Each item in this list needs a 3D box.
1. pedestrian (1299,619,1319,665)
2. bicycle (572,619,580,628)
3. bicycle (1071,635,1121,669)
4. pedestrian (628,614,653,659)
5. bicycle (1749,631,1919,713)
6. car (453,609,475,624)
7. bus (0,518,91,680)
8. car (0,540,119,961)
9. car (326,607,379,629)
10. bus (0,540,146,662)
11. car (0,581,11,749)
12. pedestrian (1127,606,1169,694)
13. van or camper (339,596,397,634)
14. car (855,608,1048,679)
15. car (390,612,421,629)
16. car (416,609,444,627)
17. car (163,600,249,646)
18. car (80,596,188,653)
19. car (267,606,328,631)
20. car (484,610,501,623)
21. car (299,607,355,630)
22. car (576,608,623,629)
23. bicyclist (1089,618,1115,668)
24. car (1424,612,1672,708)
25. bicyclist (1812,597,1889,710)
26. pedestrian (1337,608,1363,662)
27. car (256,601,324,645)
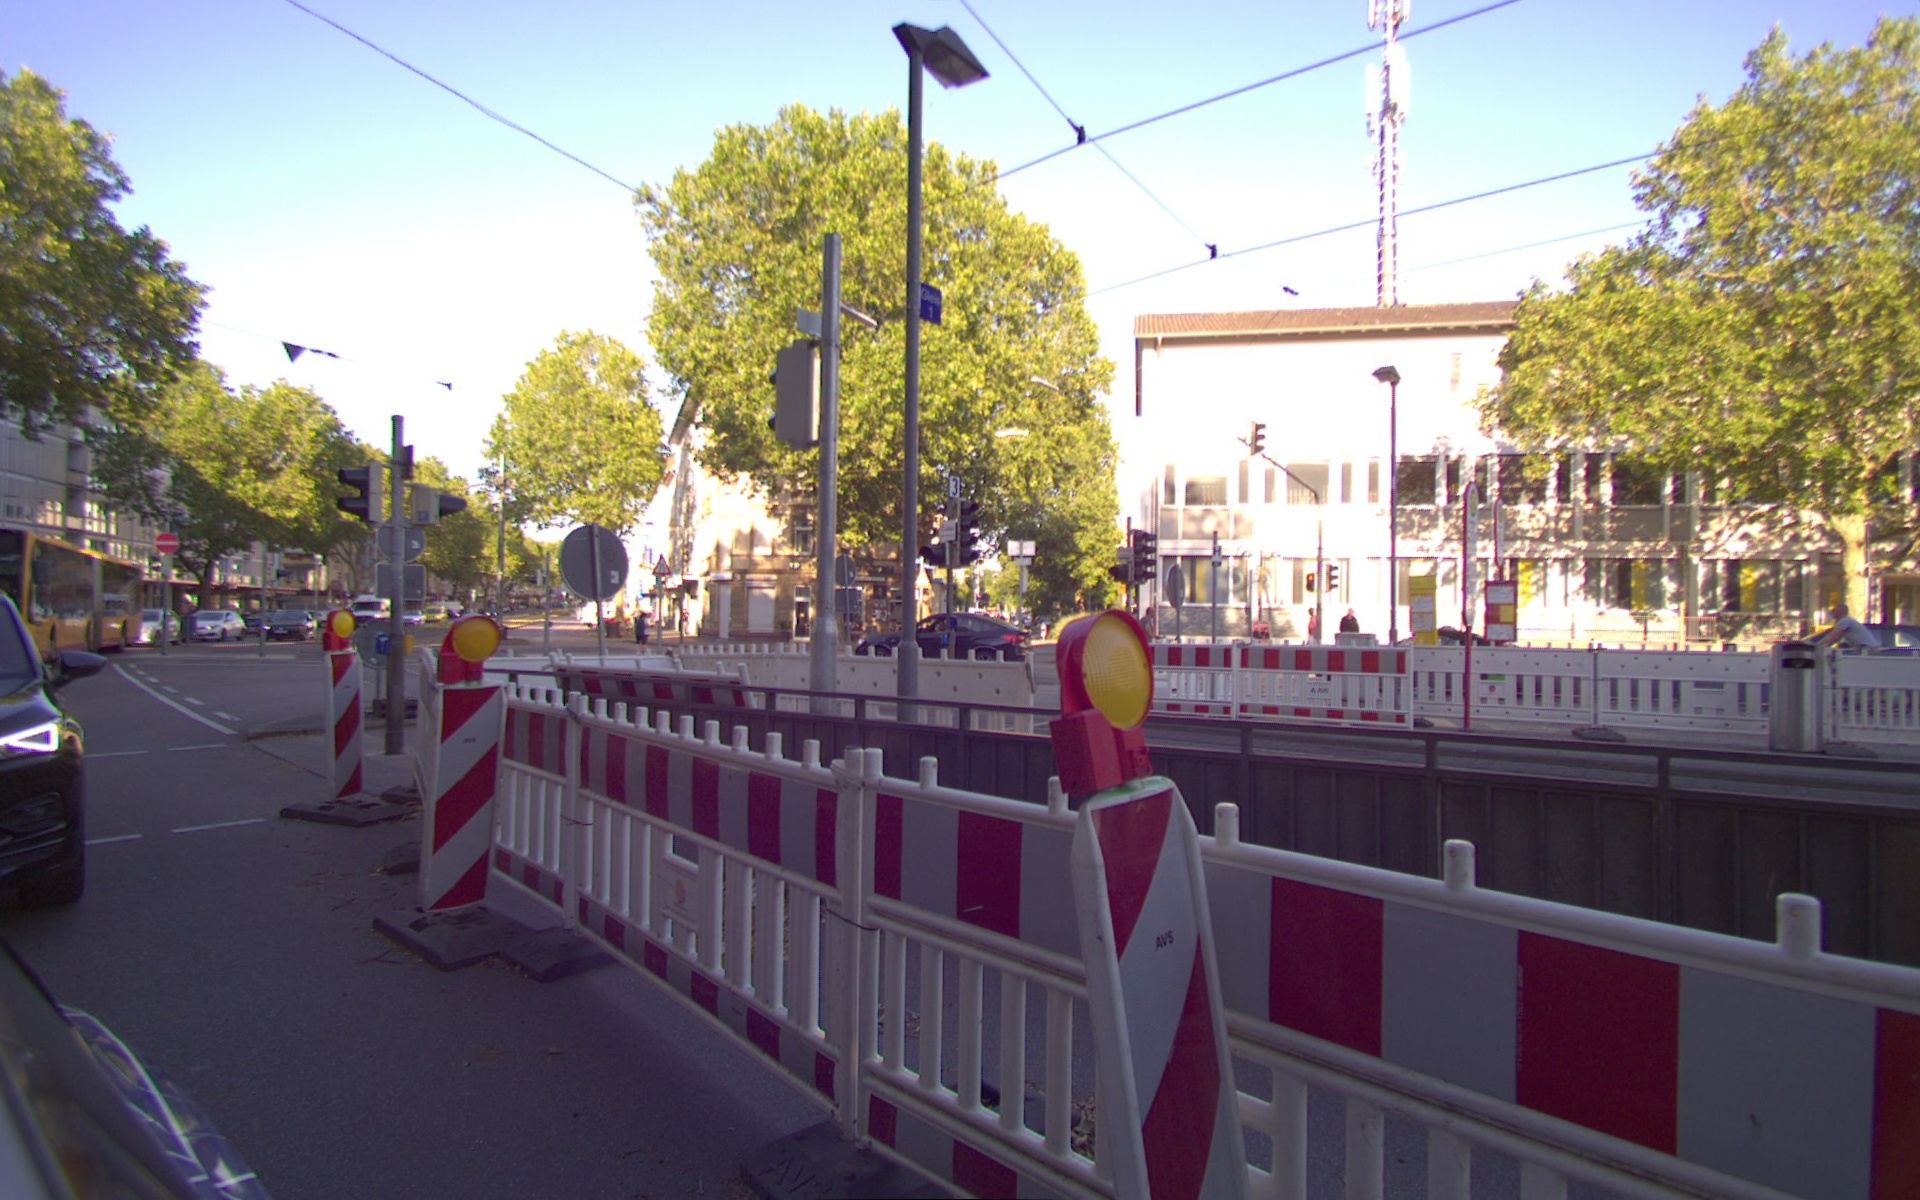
[{"bbox_3d":[11.404,1.357,33.079,0.582,1.466,0.582,0,-2,24],"label":"pedestrian"},{"bbox_3d":[-52.802,3.274,139.060,0.837,1.202,2.474,1,-1,-23],"label":"bicycle"},{"bbox_3d":[4.458,1.702,33.195,1.621,1.073,0.543,-1,-2,41],"label":"bicycle"},{"bbox_3d":[-11.180,1.272,35.435,0.594,1.545,0.746,1,-2,-37],"label":"pedestrian"},{"bbox_3d":[14.183,1.125,16.151,2.475,1.217,0.683,0,-2,36],"label":"bicycle"},{"bbox_3d":[-60.435,1.976,123.399,1.809,1.816,4.143,1,-1,-19],"label":"car"},{"bbox_3d":[-21.650,0.019,22.594,2.678,3.130,8.641,1,-1,-36],"label":"bus"},{"bbox_3d":[-5.772,0.616,5.046,3.998,1.719,1.818,-1,-2,41],"label":"car"},{"bbox_3d":[-57.611,1.708,95.997,3.938,2.029,2.003,1,-2,-42],"label":"car"},{"bbox_3d":[-26.540,0.084,29.829,2.676,3.130,8.623,1,-1,-31],"label":"bus"},{"bbox_3d":[-11.601,0.636,10.637,4.074,1.655,1.972,-1,-2,41],"label":"car"},{"bbox_3d":[3.840,1.013,20.737,0.545,1.760,0.693,1,-1,-24],"label":"pedestrian"},{"bbox_3d":[-44.251,1.141,75.774,2.385,2.739,6.151,1,-1,-17],"label":"van or camper"},{"bbox_3d":[-0.195,1.051,25.637,4.523,1.674,1.987,0,-1,20],"label":"car"},{"bbox_3d":[-48.033,1.761,87.719,1.675,1.481,3.776,1,-1,-19],"label":"car"},{"bbox_3d":[-52.478,1.795,100.230,1.809,1.816,4.143,1,-1,-19],"label":"car"},{"bbox_3d":[-35.458,1.081,47.727,1.966,2.029,4.012,1,-1,-16],"label":"car"},{"bbox_3d":[-31.290,0.913,38.495,1.965,2.029,4.111,1,-1,-21],"label":"car"},{"bbox_3d":[-54.575,1.557,83.432,3.938,2.029,2.003,1,-2,-42],"label":"car"},{"bbox_3d":[-69.609,2.475,150.675,1.809,1.816,4.143,1,-1,-19],"label":"car"},{"bbox_3d":[-56.371,1.687,90.139,3.938,2.029,2.003,2,-2,-42],"label":"car"},{"bbox_3d":[-34.774,1.799,97.698,1.990,2.029,3.963,0,-1,27],"label":"car"},{"bbox_3d":[4.628,1.402,33.045,0.643,1.626,0.544,-1,-2,41],"label":"bicyclist"},{"bbox_3d":[11.465,1.088,19.835,3.995,1.674,1.974,0,-2,38],"label":"car"},{"bbox_3d":[14.197,0.840,16.155,0.833,1.741,0.726,-1,-2,36],"label":"bicyclist"},{"bbox_3d":[11.570,1.032,30.041,0.649,1.564,0.563,0,-1,28],"label":"pedestrian"},{"bbox_3d":[-32.148,1.111,48.686,1.965,2.029,4.013,1,-1,-22],"label":"car"}]
